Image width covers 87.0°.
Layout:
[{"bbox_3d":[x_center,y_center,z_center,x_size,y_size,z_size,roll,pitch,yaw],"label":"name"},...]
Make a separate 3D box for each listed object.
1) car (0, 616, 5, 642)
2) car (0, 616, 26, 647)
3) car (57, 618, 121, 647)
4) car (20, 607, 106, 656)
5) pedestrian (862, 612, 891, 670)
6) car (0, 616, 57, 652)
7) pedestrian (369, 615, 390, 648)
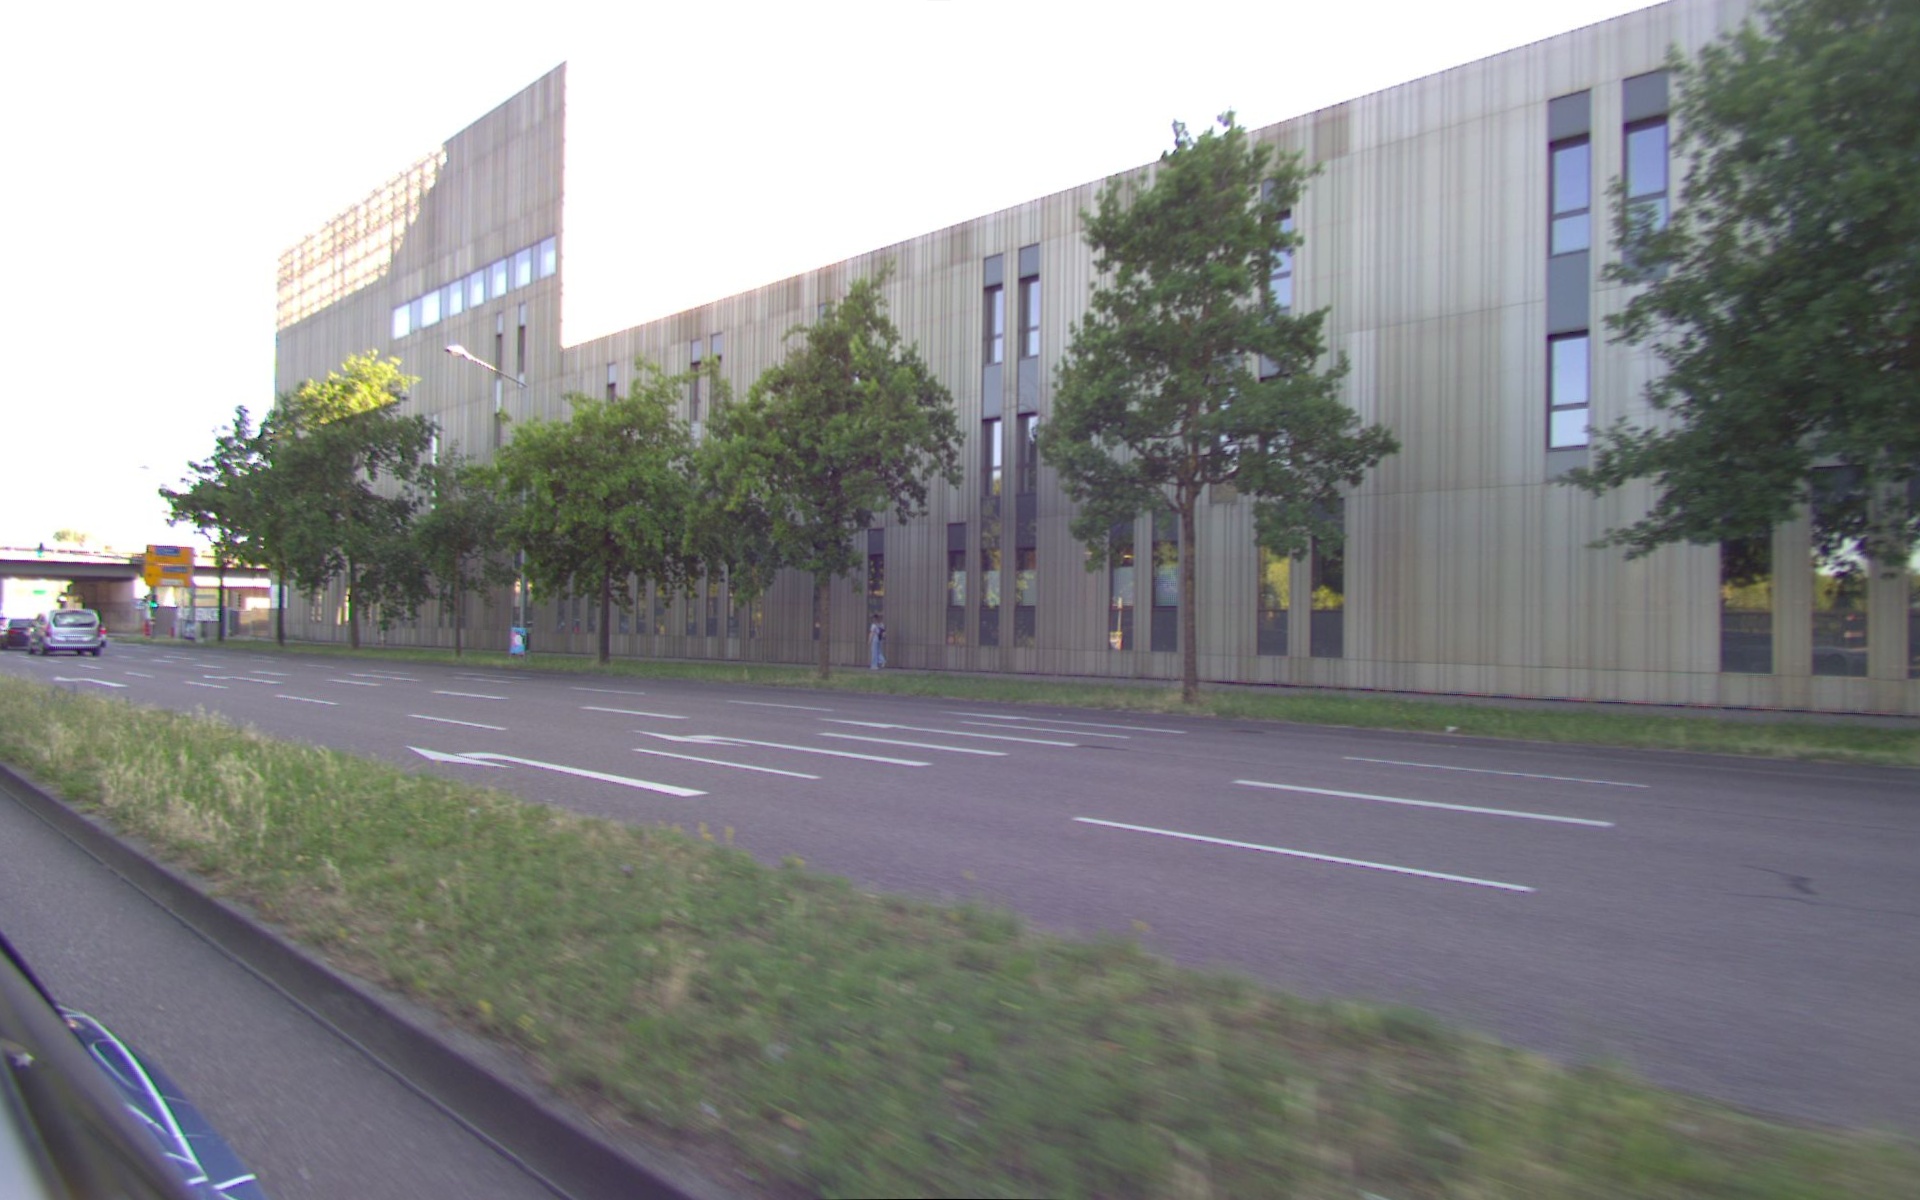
[{"bbox_3d":[-55.197,1.619,56.917,3.769,1.444,1.674,-1,-3,40],"label":"car"},{"bbox_3d":[-48.415,1.560,50.651,3.997,1.530,1.906,-1,-3,40],"label":"car"},{"bbox_3d":[-46.989,1.728,54.570,4.812,1.484,1.827,-1,-3,40],"label":"car"},{"bbox_3d":[-35.286,1.232,39.780,4.399,1.830,1.973,-1,-3,41],"label":"car"},{"bbox_3d":[-2.602,1.270,31.491,0.648,1.781,0.596,-1,-2,41],"label":"pedestrian"},{"bbox_3d":[-42.115,1.504,45.370,4.288,1.530,1.905,-1,-3,41],"label":"car"},{"bbox_3d":[-29.193,1.586,50.878,0.724,1.641,0.689,-1,-2,40],"label":"pedestrian"}]
